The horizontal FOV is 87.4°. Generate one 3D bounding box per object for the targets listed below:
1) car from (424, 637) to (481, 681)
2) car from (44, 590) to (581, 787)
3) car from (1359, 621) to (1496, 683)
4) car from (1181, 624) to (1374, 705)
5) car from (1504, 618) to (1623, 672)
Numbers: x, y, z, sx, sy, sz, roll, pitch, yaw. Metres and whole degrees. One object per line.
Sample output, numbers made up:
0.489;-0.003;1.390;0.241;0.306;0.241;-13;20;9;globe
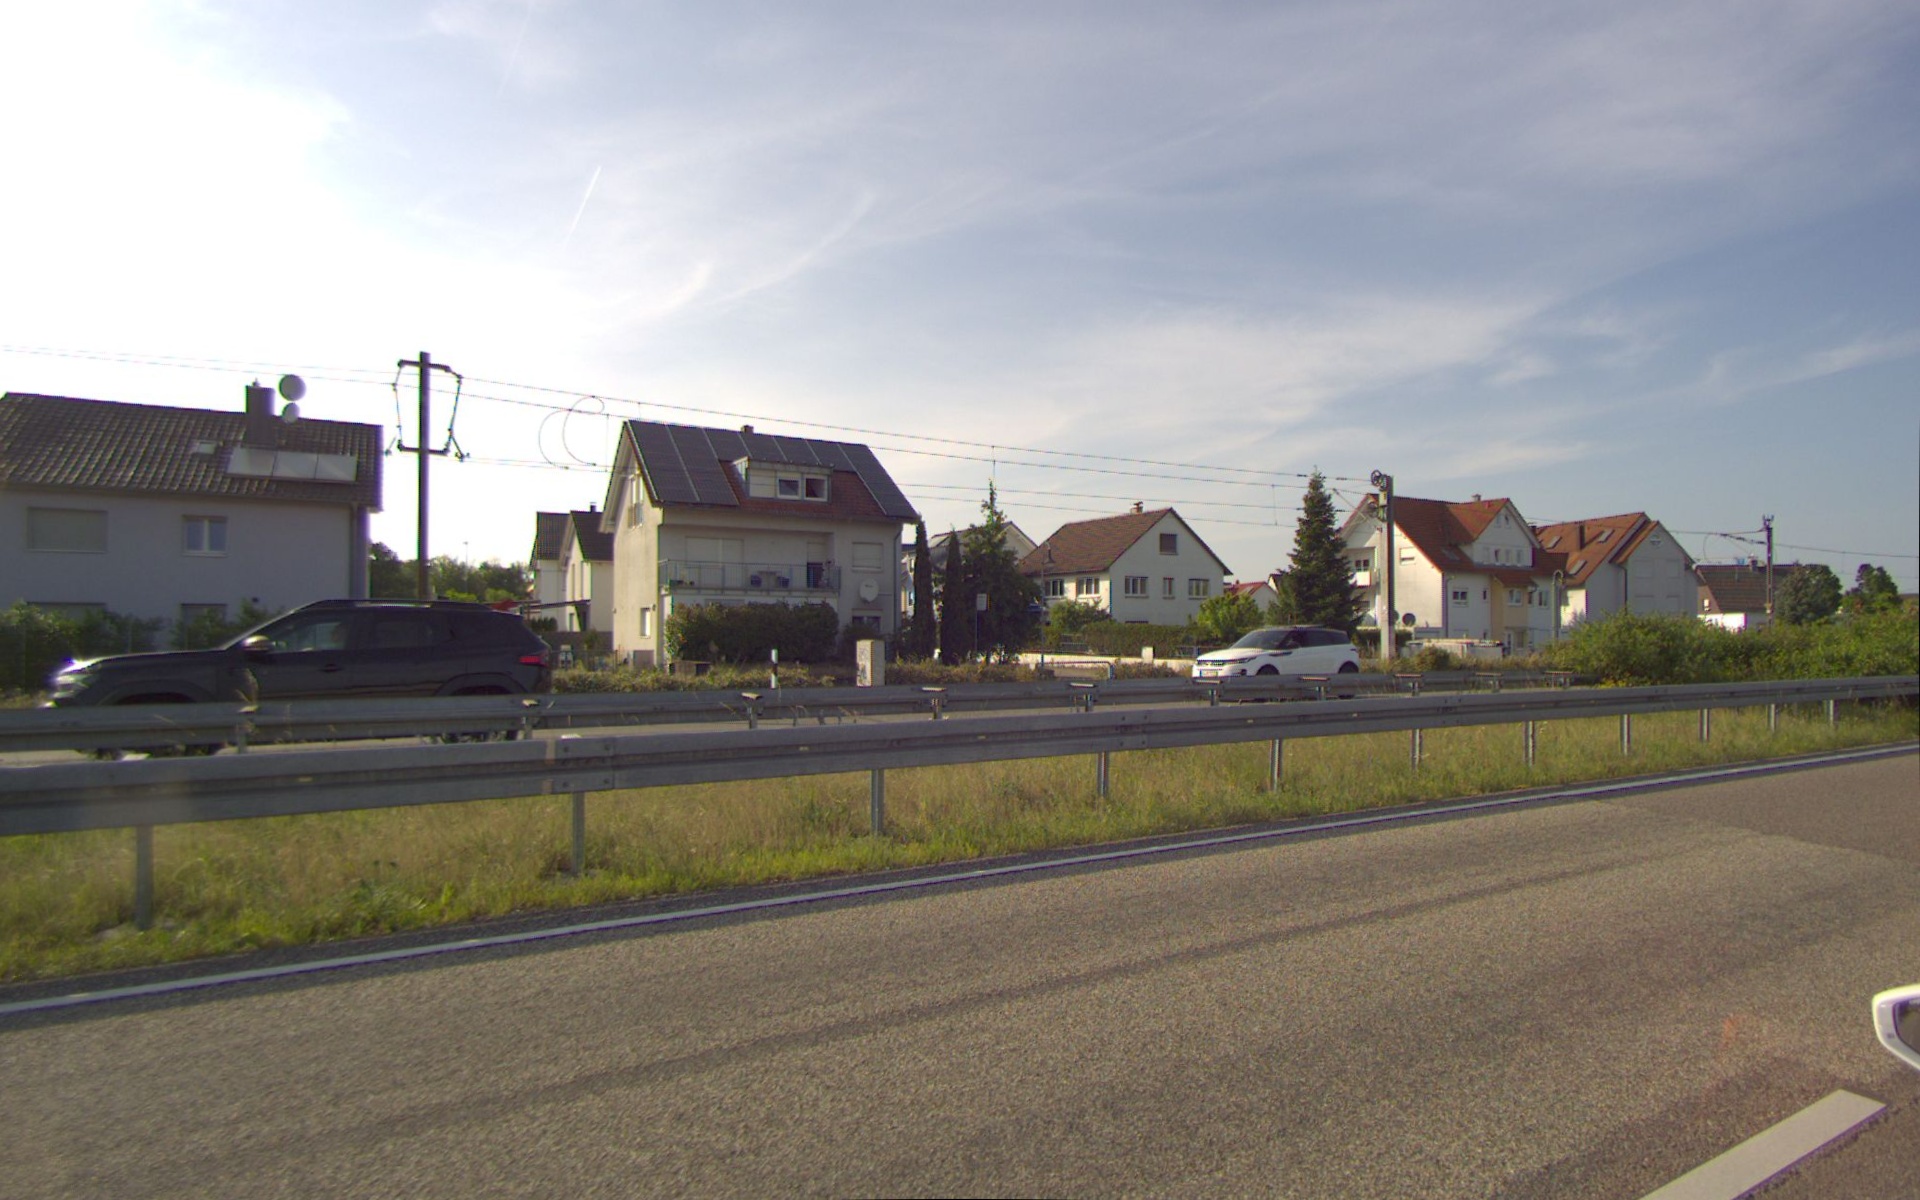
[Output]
-18.512;2.114;36.684;1.760;1.417;3.973;1;-1;-27;car
-6.280;0.833;10.301;4.269;1.655;1.721;1;-4;-31;car
14.631;1.588;31.401;3.954;1.773;1.983;1;0;-31;car
7.296;1.417;22.939;4.395;1.633;1.706;1;0;-31;car
21.439;1.560;35.650;3.954;1.773;1.983;1;0;-31;car
